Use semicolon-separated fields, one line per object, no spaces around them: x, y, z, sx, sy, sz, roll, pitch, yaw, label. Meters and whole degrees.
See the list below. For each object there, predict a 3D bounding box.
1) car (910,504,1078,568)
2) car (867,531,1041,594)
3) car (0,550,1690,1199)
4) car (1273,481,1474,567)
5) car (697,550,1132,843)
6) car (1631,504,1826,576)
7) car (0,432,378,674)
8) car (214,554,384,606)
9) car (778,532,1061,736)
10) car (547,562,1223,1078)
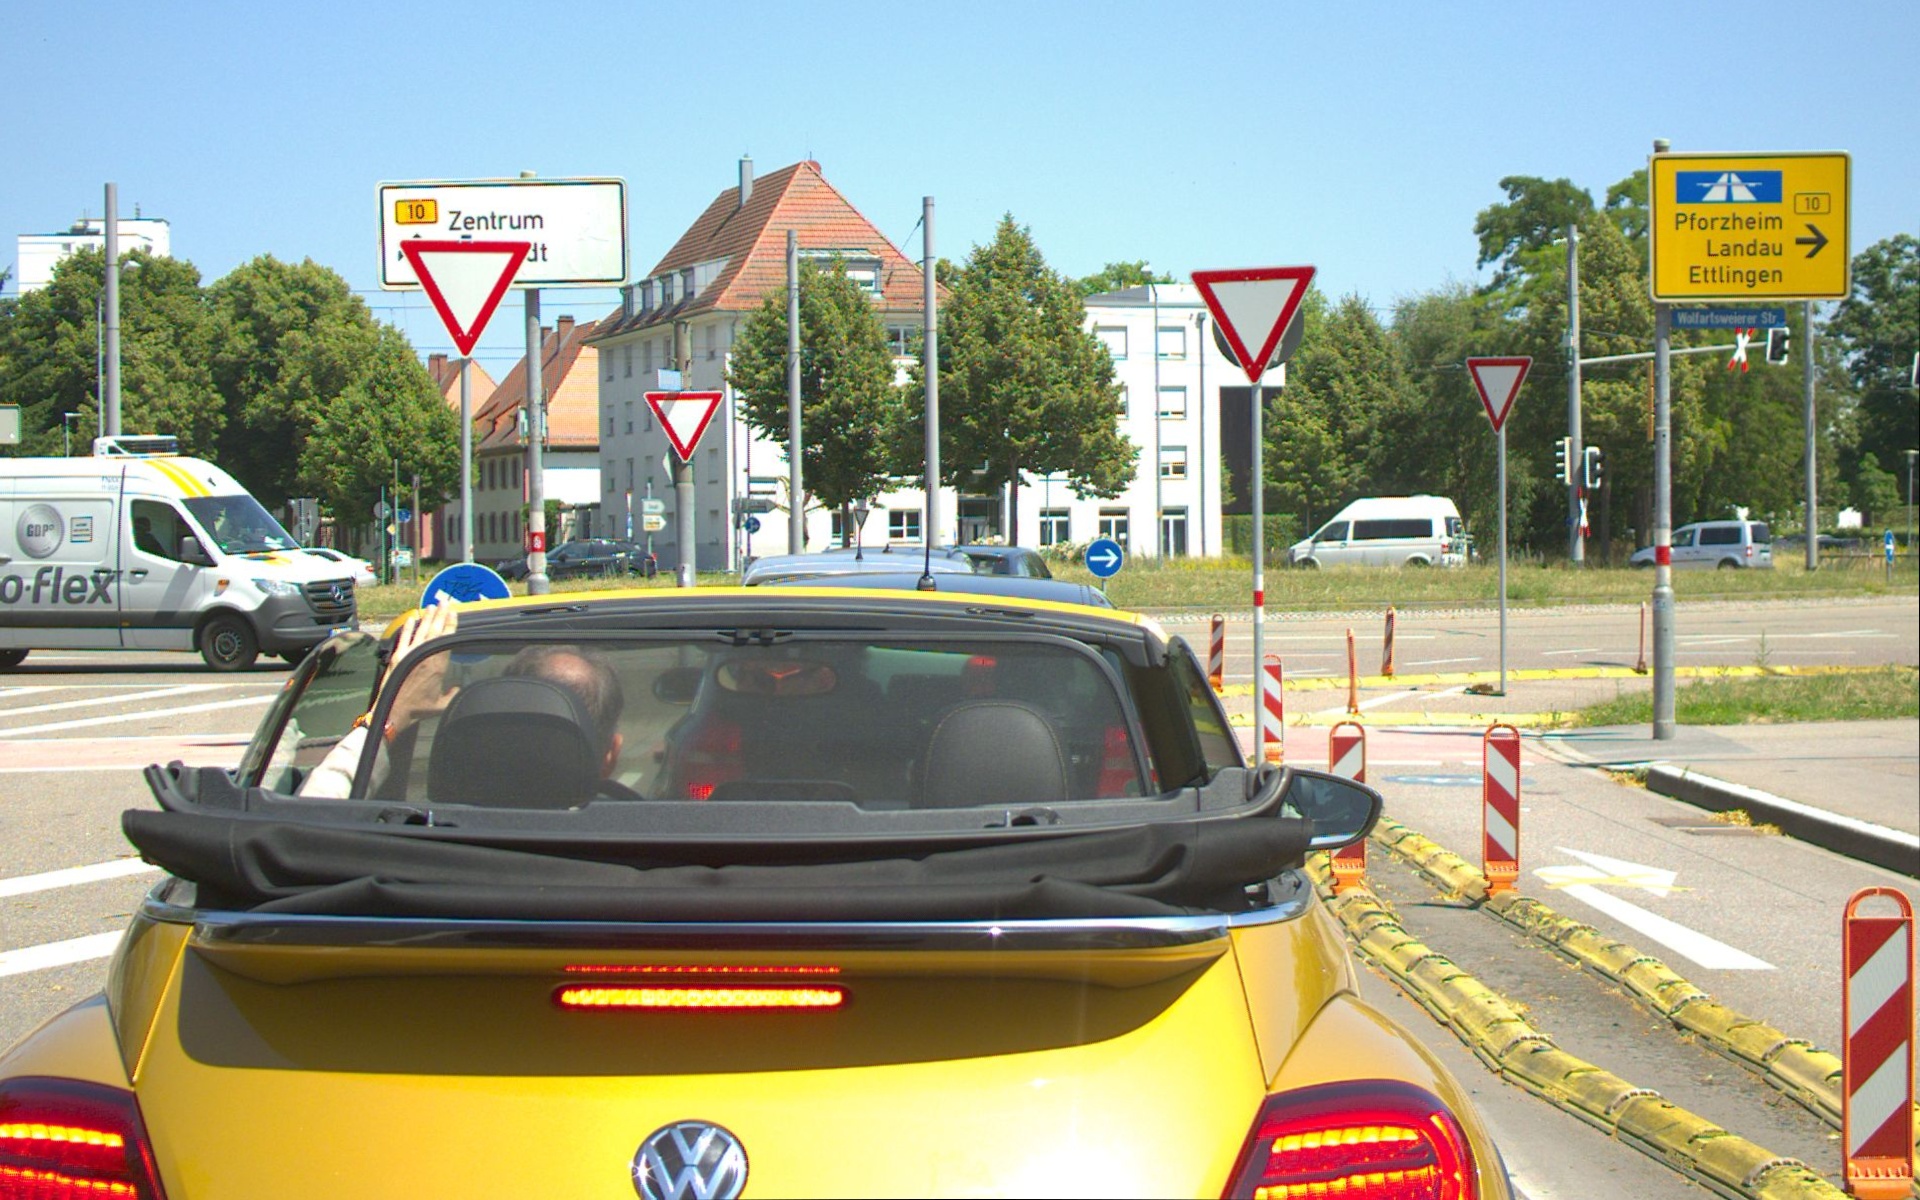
1.126;-2.061;110.953;5.311;1.955;1.994;1;0;3;car
-0.194;-1.213;111.346;5.314;1.955;1.993;1;0;13;car
-0.283;0.681;5.112;1.765;1.476;4.258;1;1;-1;car
11.819;-2.182;98.348;5.319;2.389;1.991;1;1;29;car
-0.243;0.441;18.598;2.065;1.377;4.258;1;1;-1;car
22.744;-1.778;101.866;5.324;2.063;1.989;1;1;43;car
-10.703;-0.611;42.337;6.869;2.818;1.998;1;0;21;car
-18.304;-0.551;95.265;4.316;1.367;1.752;1;1;-25;car
-0.324;0.207;27.681;2.065;1.476;4.543;-1;1;-1;car
-0.230;0.586;11.641;1.851;1.361;4.258;-1;1;-1;car
